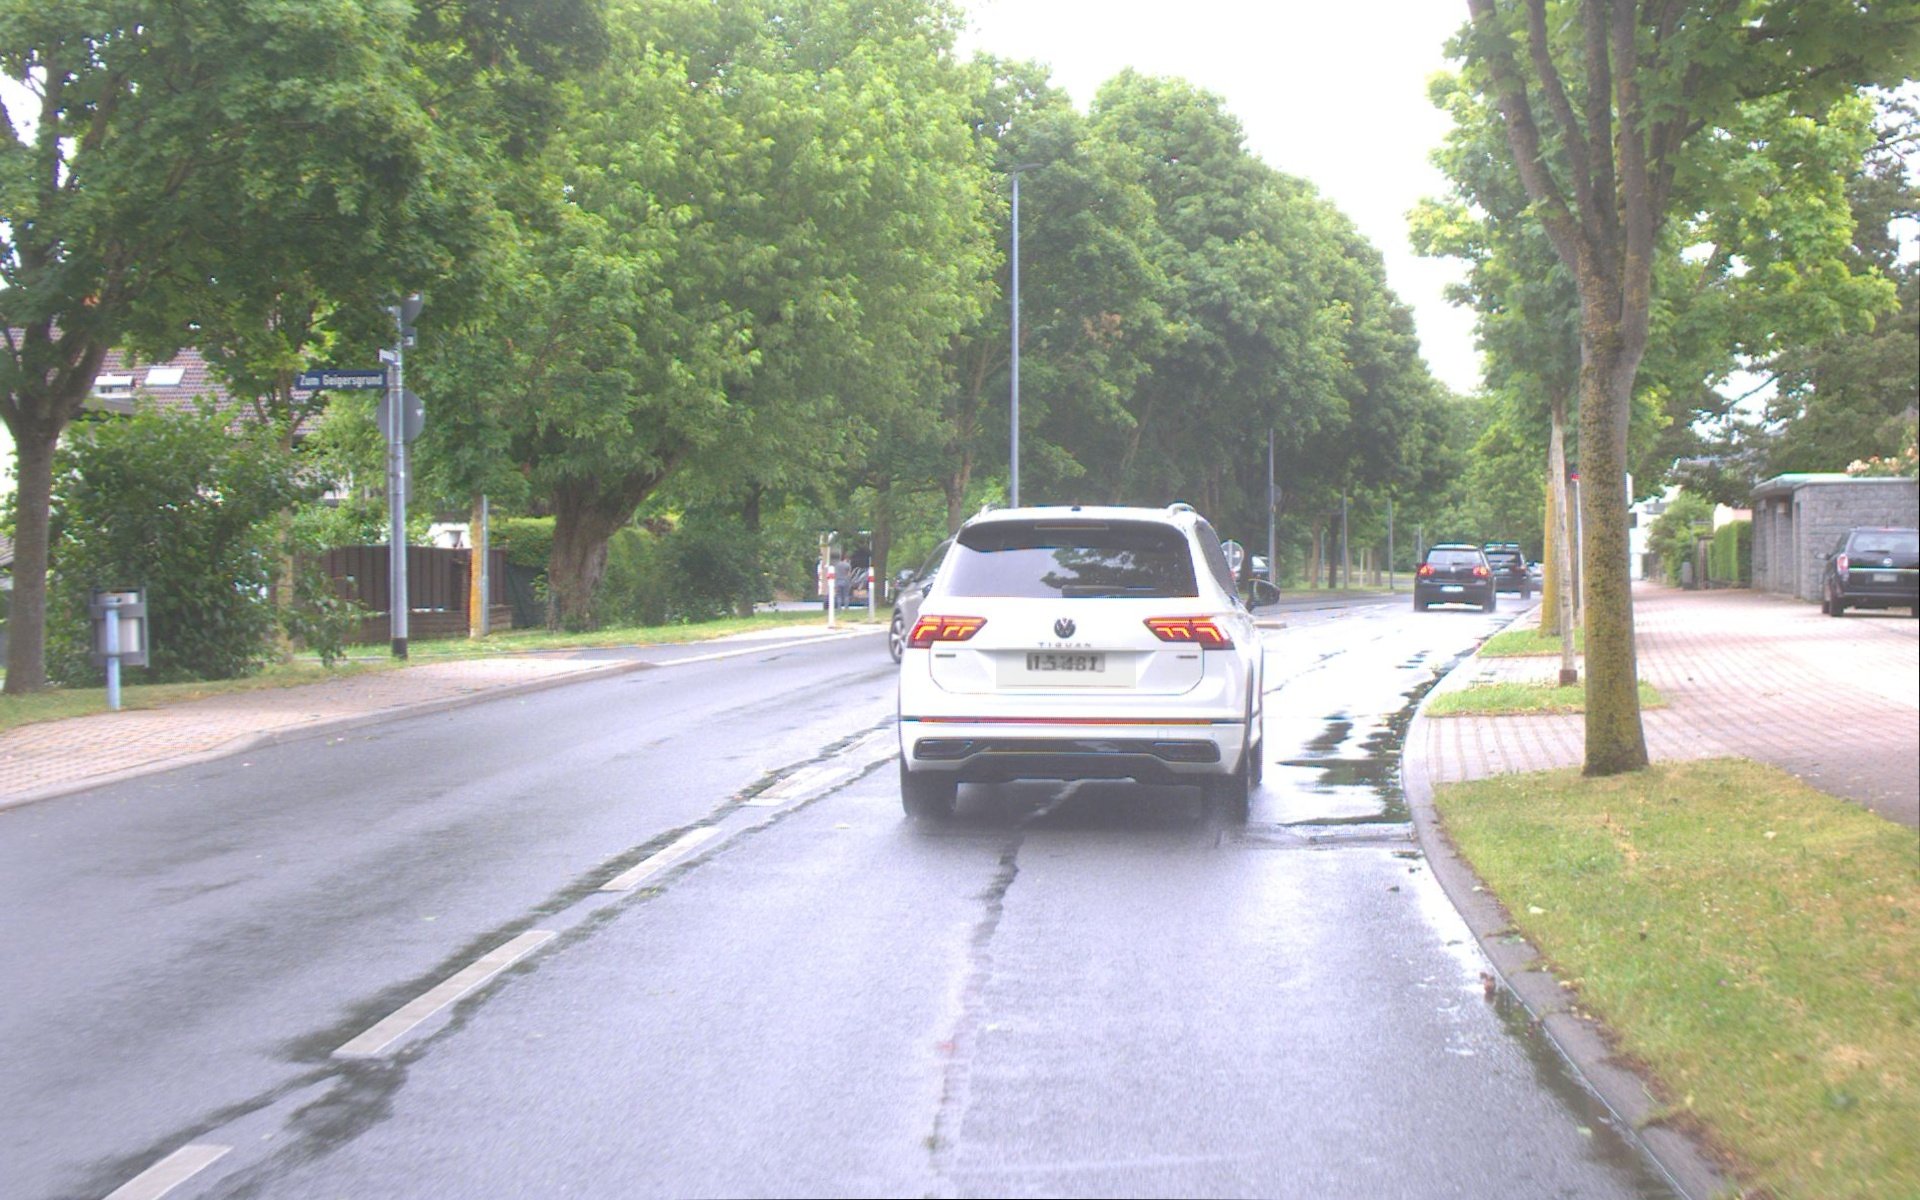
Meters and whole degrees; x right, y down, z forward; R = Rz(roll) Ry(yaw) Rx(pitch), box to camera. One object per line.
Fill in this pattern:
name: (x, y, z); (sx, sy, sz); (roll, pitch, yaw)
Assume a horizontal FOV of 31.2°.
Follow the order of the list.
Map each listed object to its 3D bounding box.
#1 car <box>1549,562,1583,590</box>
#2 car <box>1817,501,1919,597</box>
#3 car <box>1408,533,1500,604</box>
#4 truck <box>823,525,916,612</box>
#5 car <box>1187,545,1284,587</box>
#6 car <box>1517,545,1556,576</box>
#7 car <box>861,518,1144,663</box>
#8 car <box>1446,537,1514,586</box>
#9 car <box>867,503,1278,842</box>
car: (31.603, -1.259, 179.378); (1.638, 1.322, 3.999); (1, 1, 9)
car: (15.171, -0.848, 56.793); (1.772, 1.493, 4.542); (-1, 1, 12)
car: (11.134, -0.729, 77.311); (1.841, 1.482, 3.998); (2, 1, 10)
truck: (-2.789, -0.988, 107.319); (2.285, 2.588, 5.873); (-1, 1, 4)
car: (10.097, -1.248, 126.234); (1.841, 1.477, 4.001); (-1, 1, -24)
car: (26.027, -1.788, 155.224); (1.638, 1.322, 3.999); (1, 1, 9)
car: (0.409, -0.100, 38.465); (1.840, 1.482, 4.001); (-2, 0, -20)
car: (16.831, -1.250, 111.357); (1.841, 1.482, 3.999); (-2, 0, 5)
car: (0.733, 0.316, 18.946); (1.997, 1.626, 3.999); (1, 1, 5)
